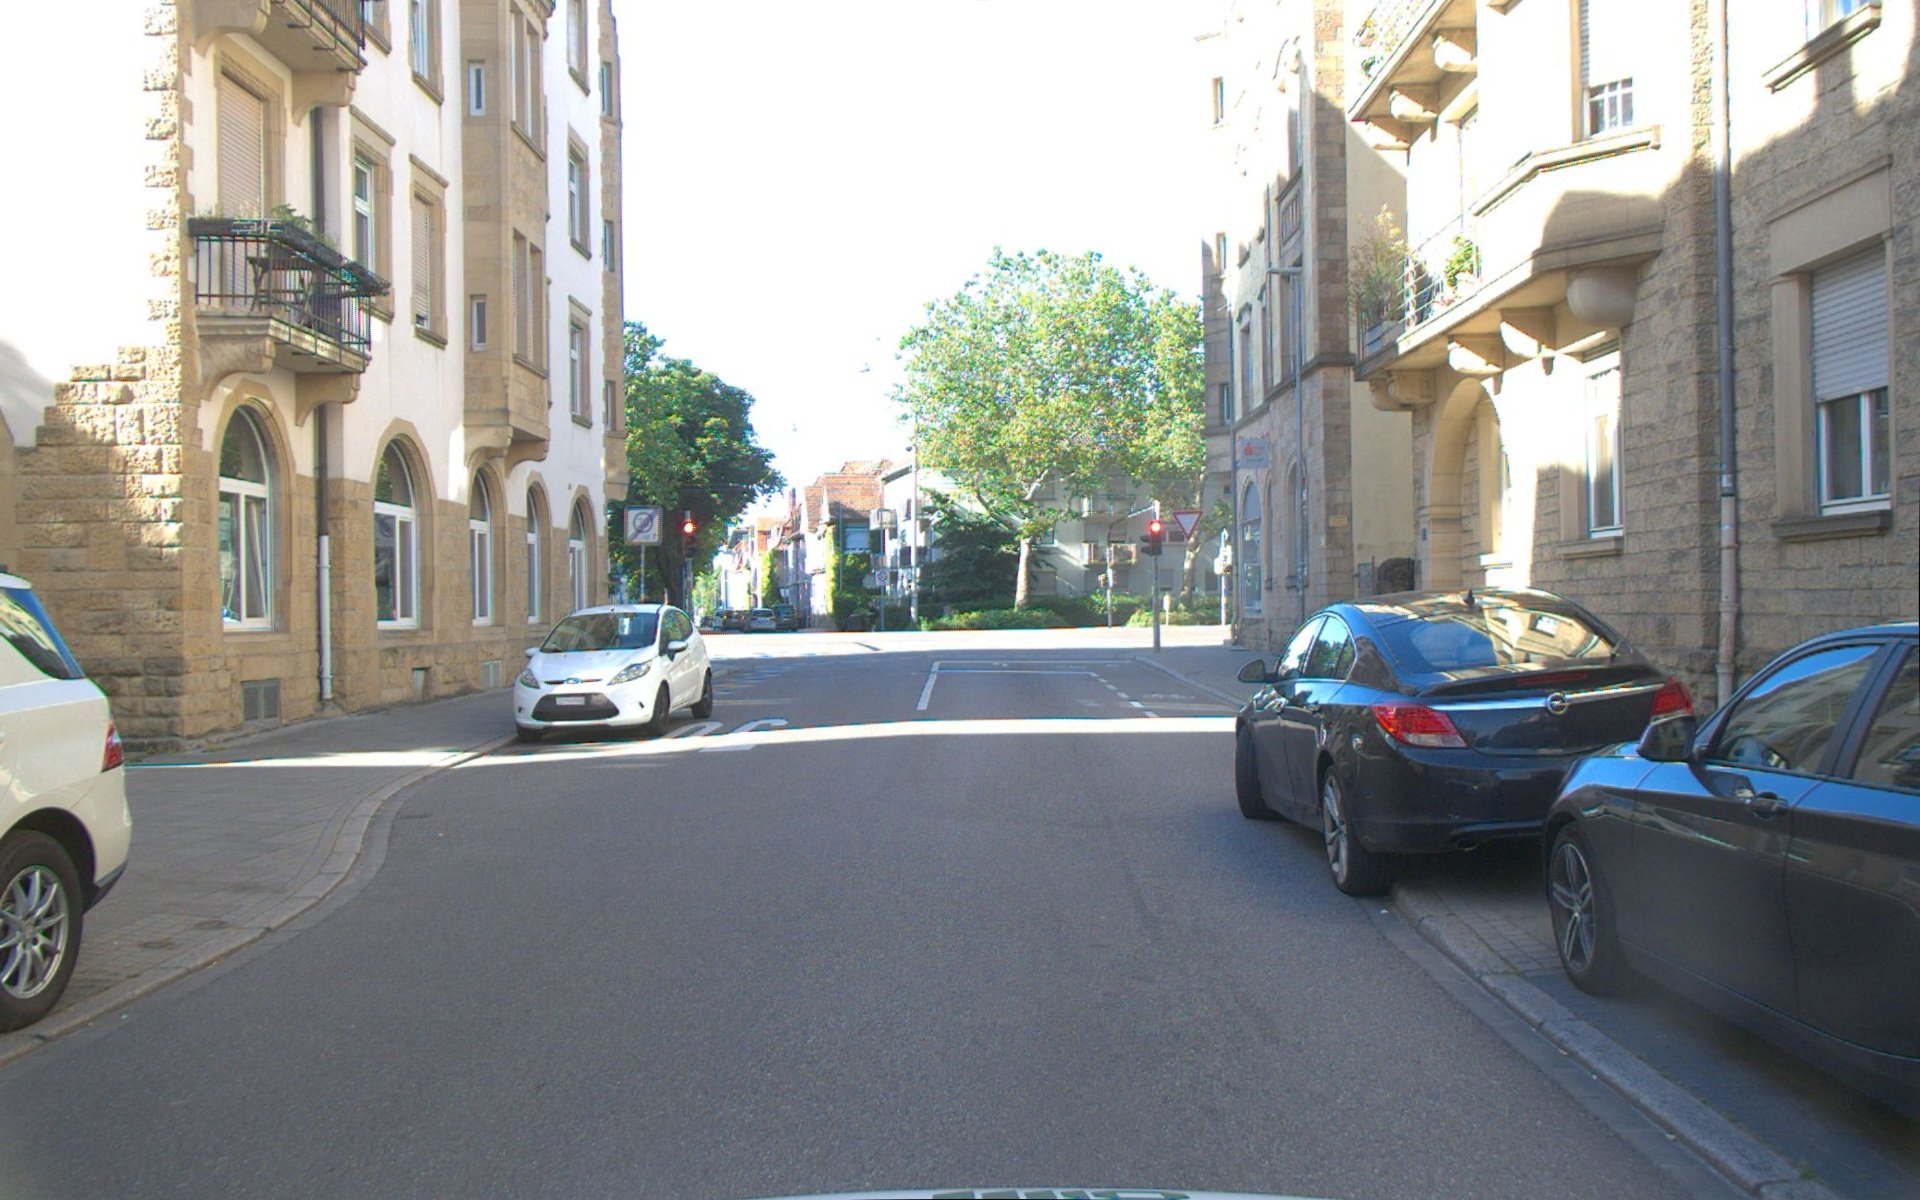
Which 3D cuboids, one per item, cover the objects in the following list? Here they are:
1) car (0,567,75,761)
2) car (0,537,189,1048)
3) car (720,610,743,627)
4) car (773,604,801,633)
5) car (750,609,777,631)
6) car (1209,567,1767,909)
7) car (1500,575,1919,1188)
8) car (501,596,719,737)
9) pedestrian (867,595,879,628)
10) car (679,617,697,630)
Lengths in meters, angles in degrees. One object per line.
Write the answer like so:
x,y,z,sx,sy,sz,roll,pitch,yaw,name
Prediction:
-10.672,0.627,15.301,3.887,1.758,1.909,-1,0,-1,car
-4.234,0.652,4.586,1.853,1.752,4.727,1,0,1,car
-19.116,1.541,138.218,1.707,1.360,3.823,-1,0,-11,car
-12.860,1.364,122.866,1.956,2.049,3.993,-1,0,-8,car
-13.481,1.363,113.369,1.643,1.509,3.513,0,-1,-10,car
2.694,0.603,9.587,1.827,1.487,4.339,-1,0,0,car
3.122,0.670,4.871,1.617,1.467,4.258,-2,0,0,car
-4.033,0.715,19.613,1.599,1.489,3.736,-1,0,3,car
-4.647,0.616,87.992,0.620,1.780,0.659,0,-1,-2,pedestrian
-33.286,2.817,202.100,1.959,1.471,3.988,-1,0,-12,car
